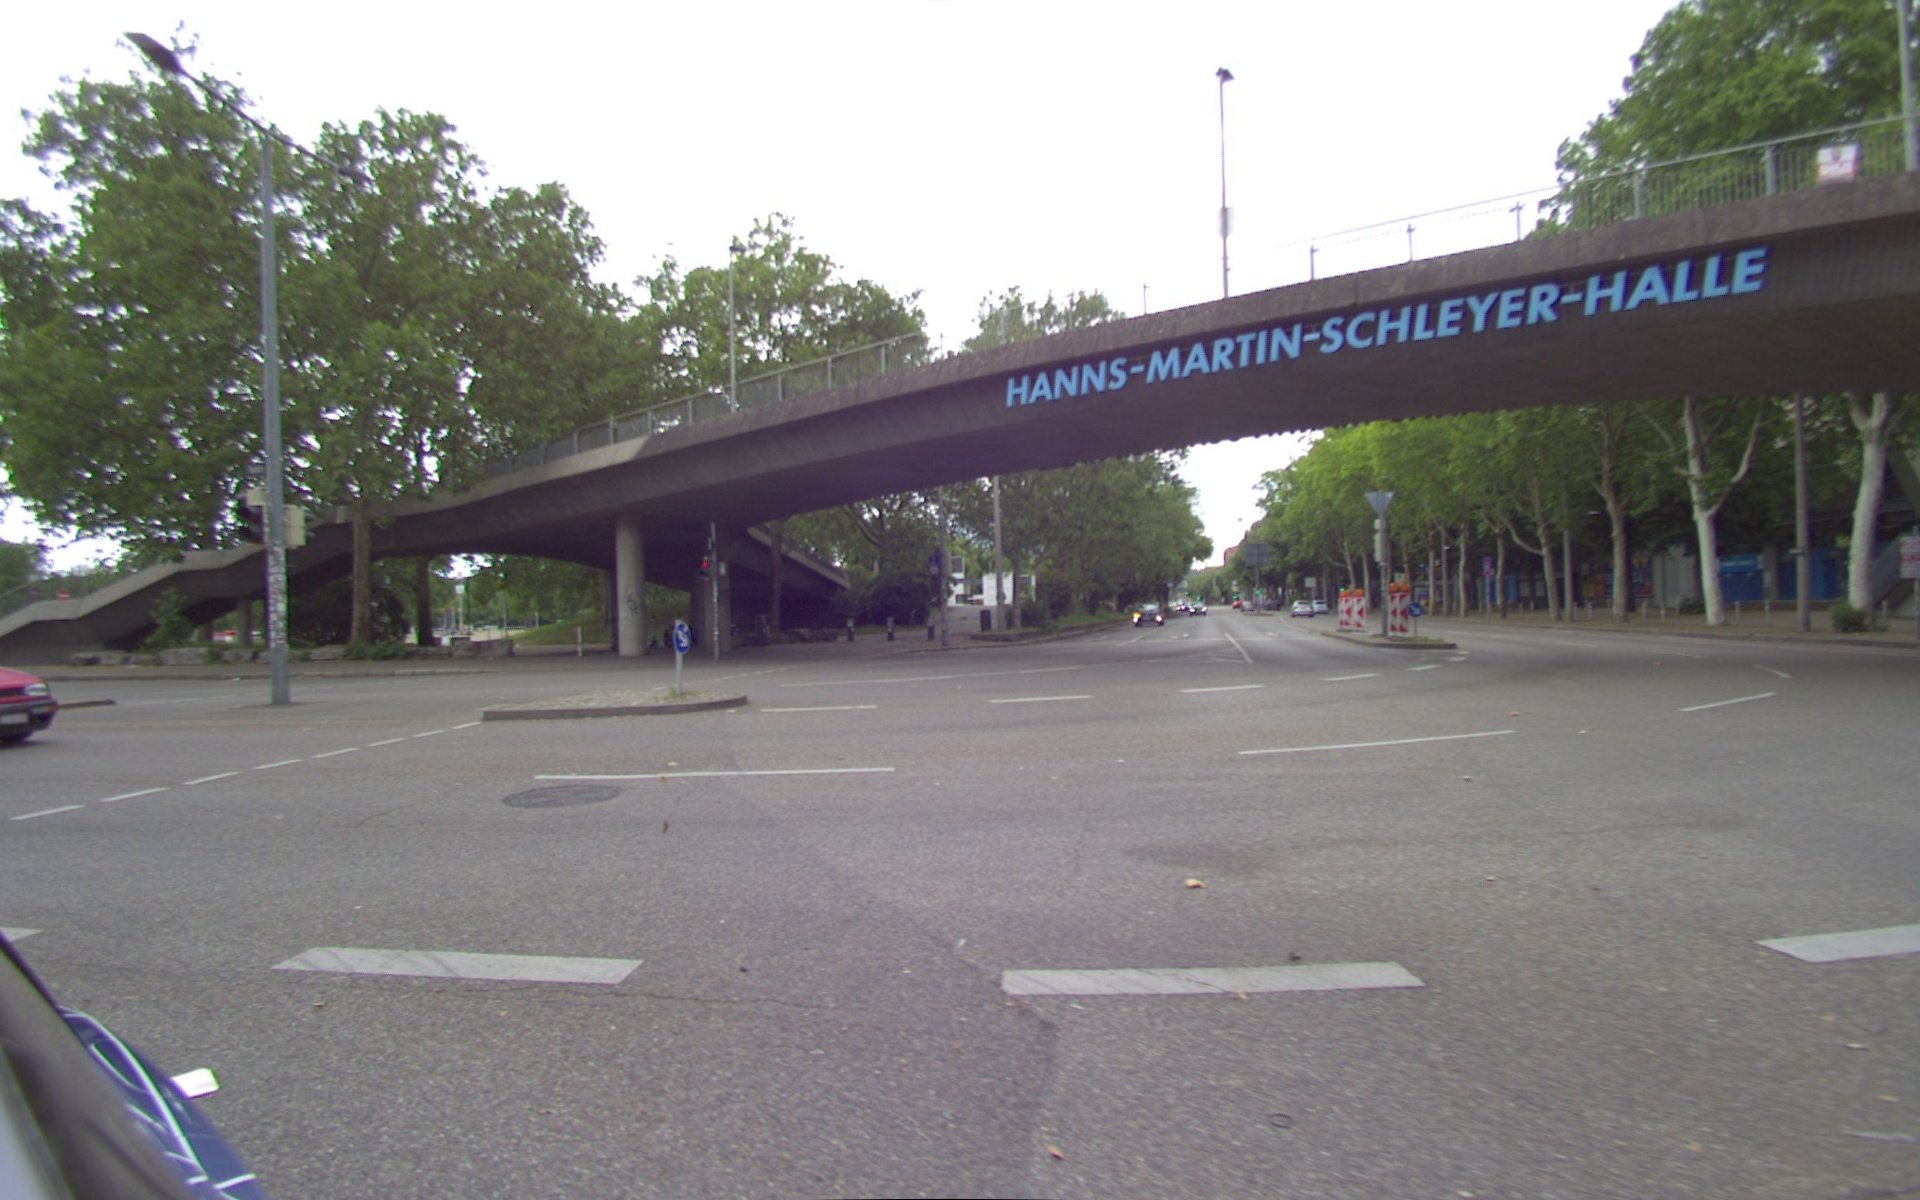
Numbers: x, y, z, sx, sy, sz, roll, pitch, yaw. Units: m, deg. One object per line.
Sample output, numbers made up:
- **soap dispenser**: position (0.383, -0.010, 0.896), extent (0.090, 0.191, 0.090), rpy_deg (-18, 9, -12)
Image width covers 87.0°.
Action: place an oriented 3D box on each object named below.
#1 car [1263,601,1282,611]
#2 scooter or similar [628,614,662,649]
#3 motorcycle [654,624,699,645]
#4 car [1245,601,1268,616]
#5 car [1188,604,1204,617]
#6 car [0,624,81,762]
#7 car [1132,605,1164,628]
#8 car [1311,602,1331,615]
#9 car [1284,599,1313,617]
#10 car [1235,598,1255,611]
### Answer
- **car**: position (45.284, 0.830, 146.659), extent (1.828, 1.435, 3.992), rpy_deg (-1, -1, 6)
- **scooter or similar**: position (-12.103, 1.194, 38.887), extent (1.215, 1.328, 0.415), rpy_deg (1, -1, 13)
- **motorcycle**: position (-11.729, 1.427, 41.892), extent (1.723, 0.858, 0.646), rpy_deg (-2, -1, 19)
- **car**: position (30.632, 0.819, 104.661), extent (1.980, 1.429, 3.983), rpy_deg (-1, 0, 13)
- **car**: position (27.292, 1.229, 116.929), extent (1.746, 1.374, 3.701), rpy_deg (-1, 1, 14)
- **car**: position (-12.429, 1.077, 11.335), extent (4.034, 1.462, 1.828), rpy_deg (-1, 0, 12)
- **car**: position (12.276, 1.061, 66.084), extent (1.747, 1.331, 3.698), rpy_deg (-1, 1, 15)
- **car**: position (37.686, 0.875, 105.711), extent (1.600, 1.323, 3.381), rpy_deg (-1, 0, 13)
- **car**: position (29.723, 0.679, 88.971), extent (1.980, 1.429, 3.983), rpy_deg (-1, 0, 13)
- **car**: position (40.346, 0.622, 143.241), extent (1.976, 1.672, 3.992), rpy_deg (-1, 0, 6)
